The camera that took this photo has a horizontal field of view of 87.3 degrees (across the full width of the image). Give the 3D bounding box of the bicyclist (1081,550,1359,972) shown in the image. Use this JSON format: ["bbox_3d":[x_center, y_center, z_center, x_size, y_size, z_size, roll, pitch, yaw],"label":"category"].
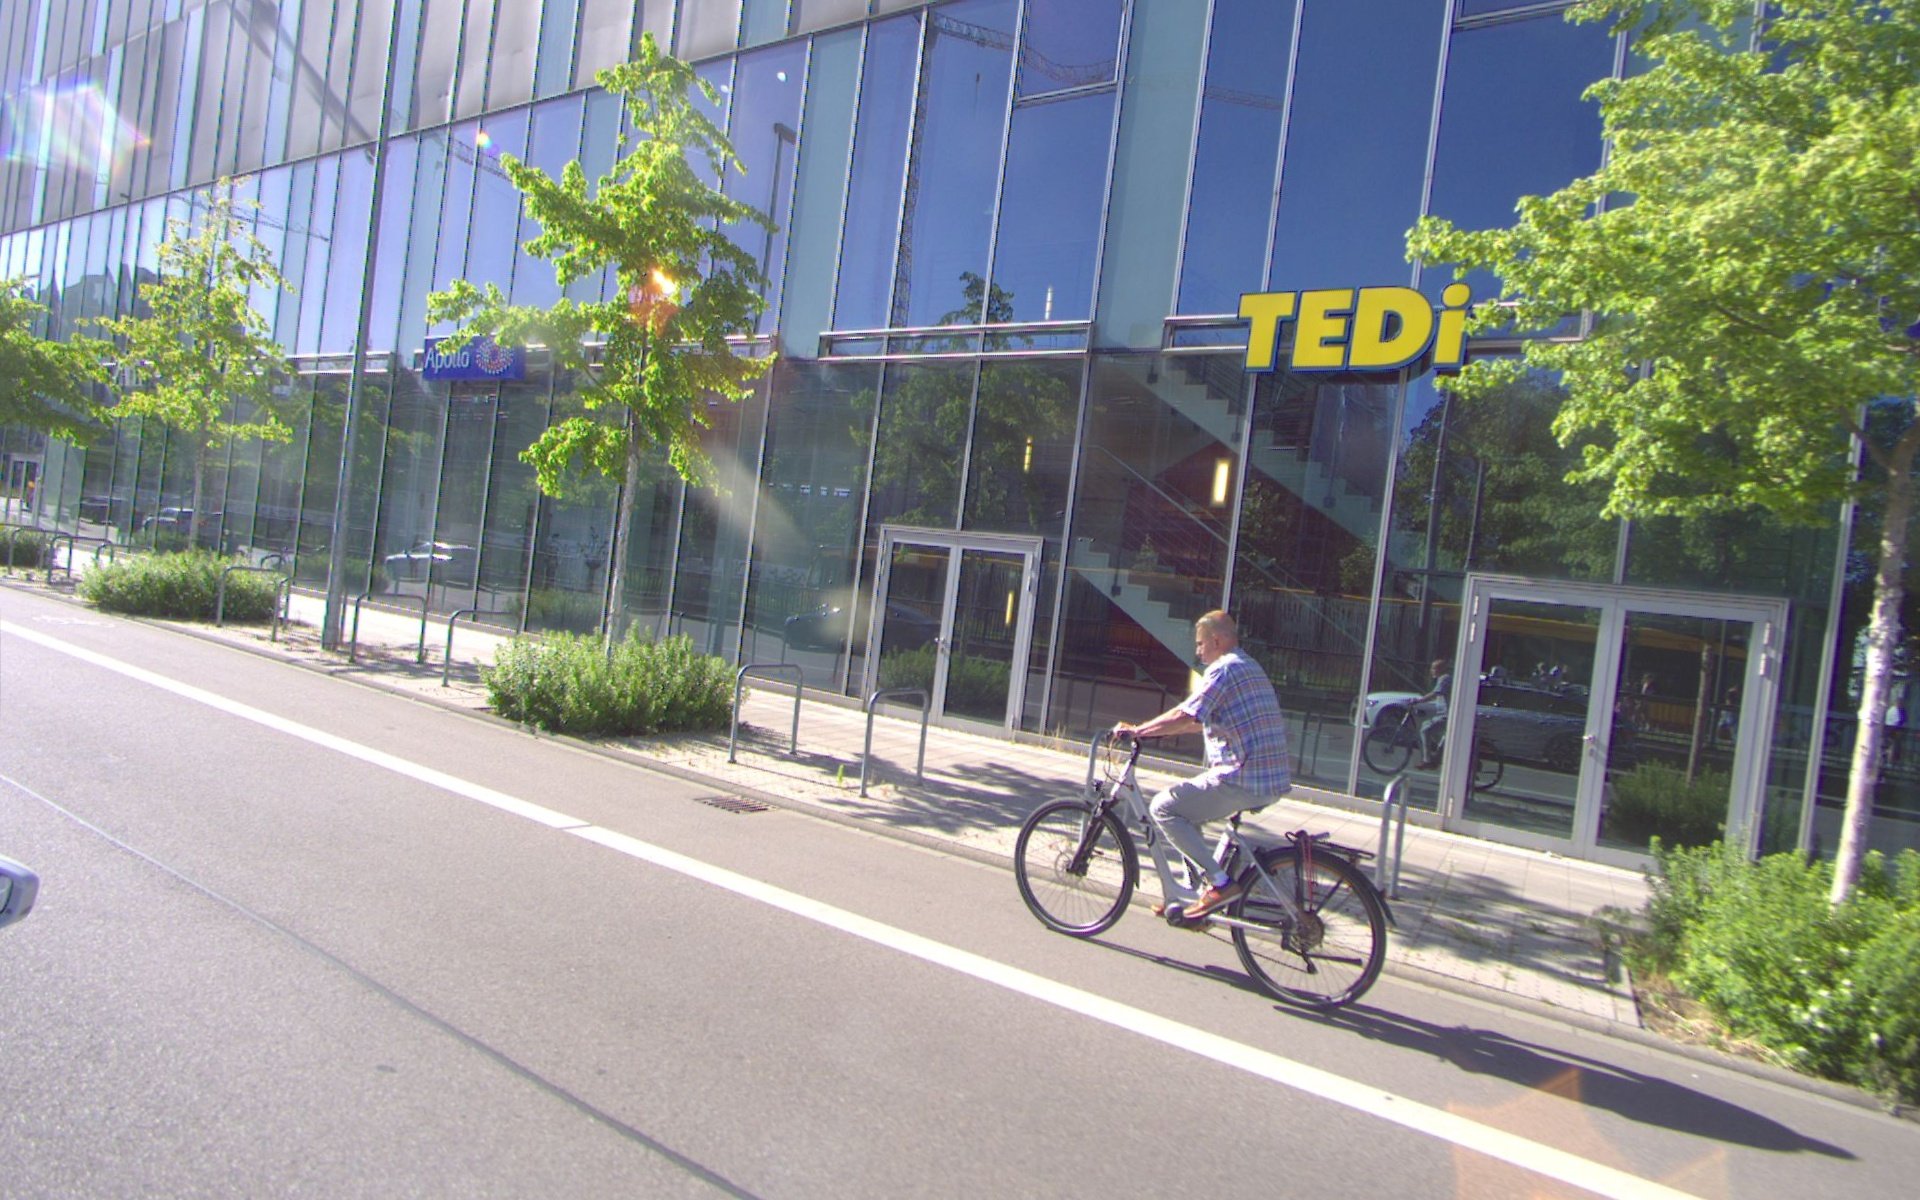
[{"bbox_3d":[1.277,0.712,4.901,0.980,1.758,0.726,7,1,28],"label":"bicyclist"}]

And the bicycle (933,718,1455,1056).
[{"bbox_3d":[1.094,1.263,4.944,2.293,0.995,0.730,7,-1,28],"label":"bicycle"}]
